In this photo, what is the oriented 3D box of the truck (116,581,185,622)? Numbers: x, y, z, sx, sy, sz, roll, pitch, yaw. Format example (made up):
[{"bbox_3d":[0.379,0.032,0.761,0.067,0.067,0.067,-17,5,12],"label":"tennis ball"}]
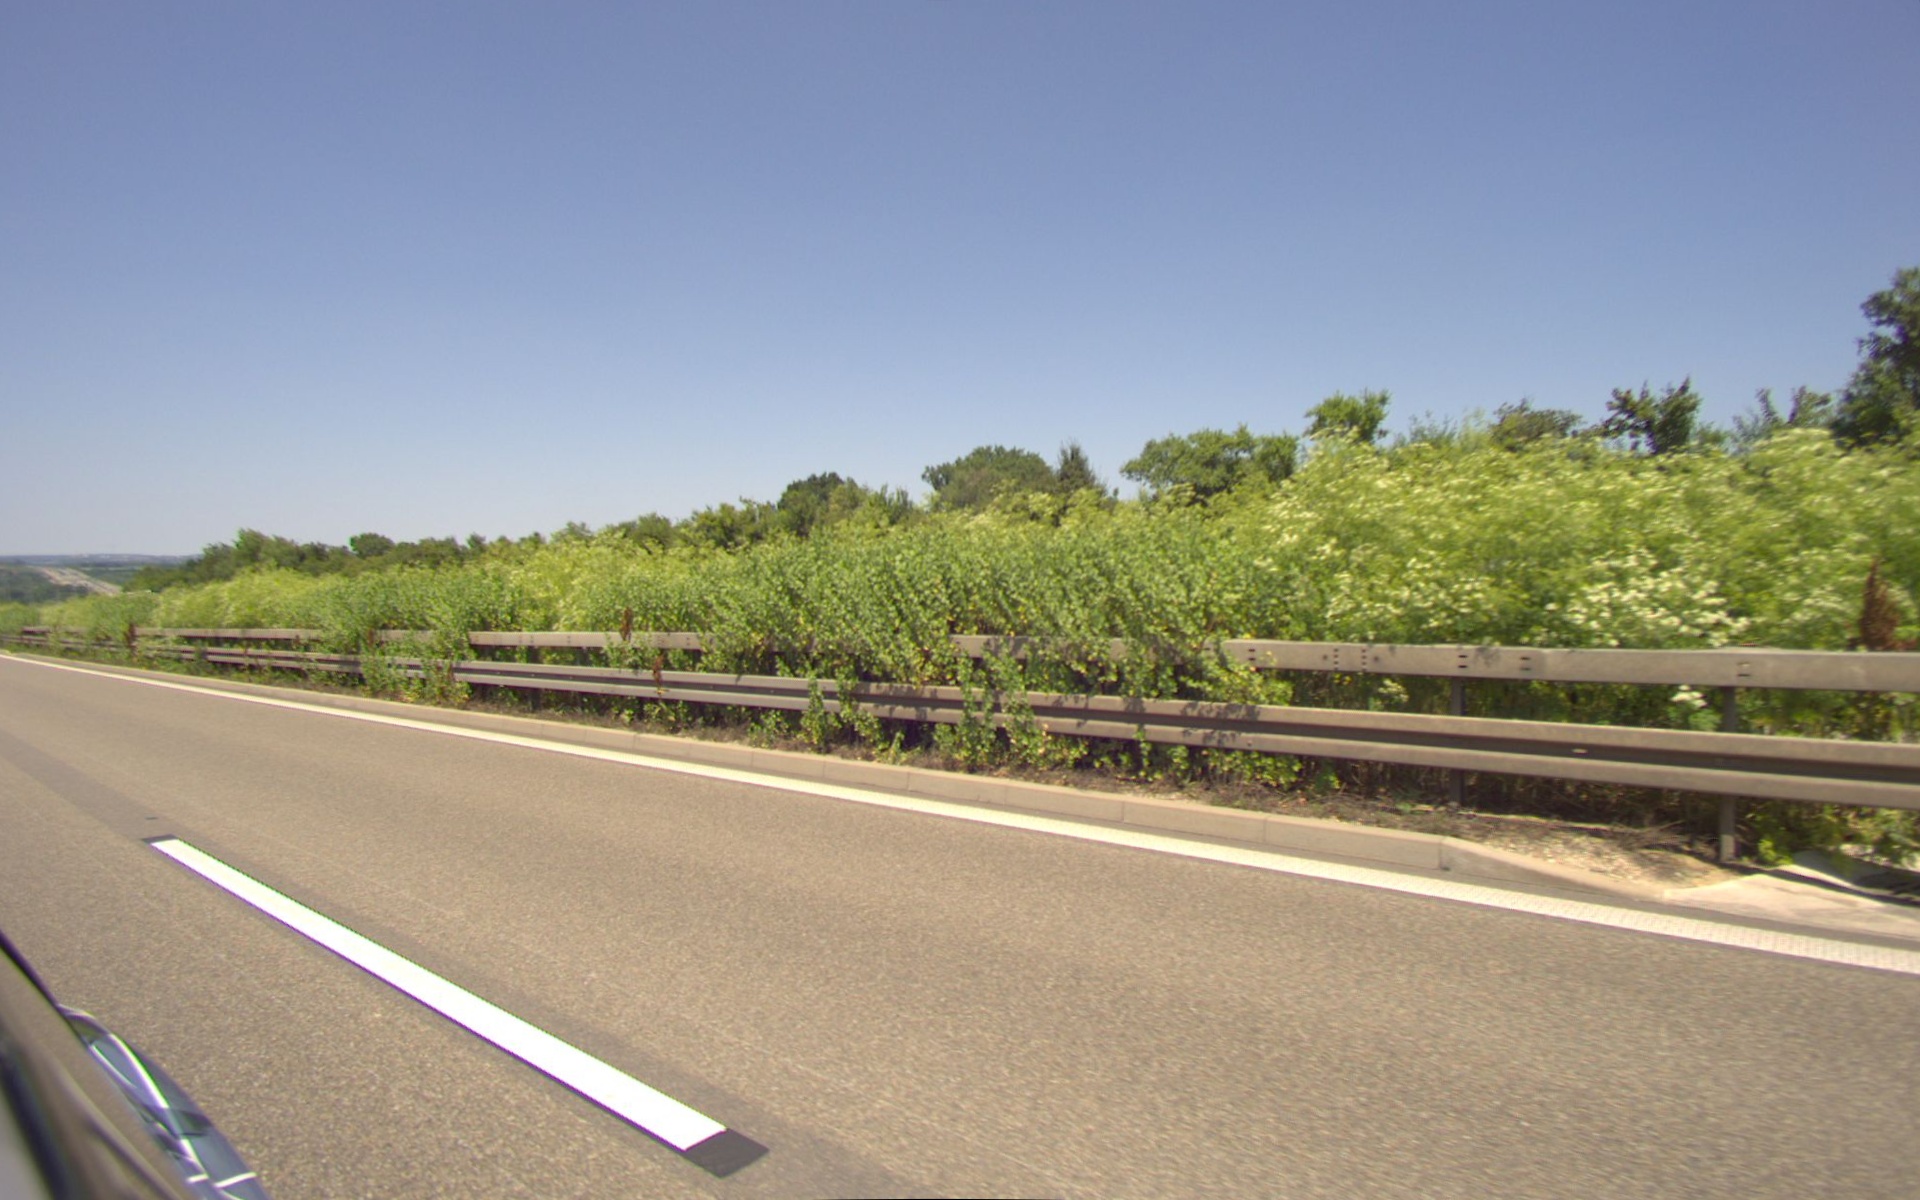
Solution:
[{"bbox_3d":[-79.662,0.262,99.411,17.035,3.545,2.645,-2,-1,42],"label":"truck"}]
